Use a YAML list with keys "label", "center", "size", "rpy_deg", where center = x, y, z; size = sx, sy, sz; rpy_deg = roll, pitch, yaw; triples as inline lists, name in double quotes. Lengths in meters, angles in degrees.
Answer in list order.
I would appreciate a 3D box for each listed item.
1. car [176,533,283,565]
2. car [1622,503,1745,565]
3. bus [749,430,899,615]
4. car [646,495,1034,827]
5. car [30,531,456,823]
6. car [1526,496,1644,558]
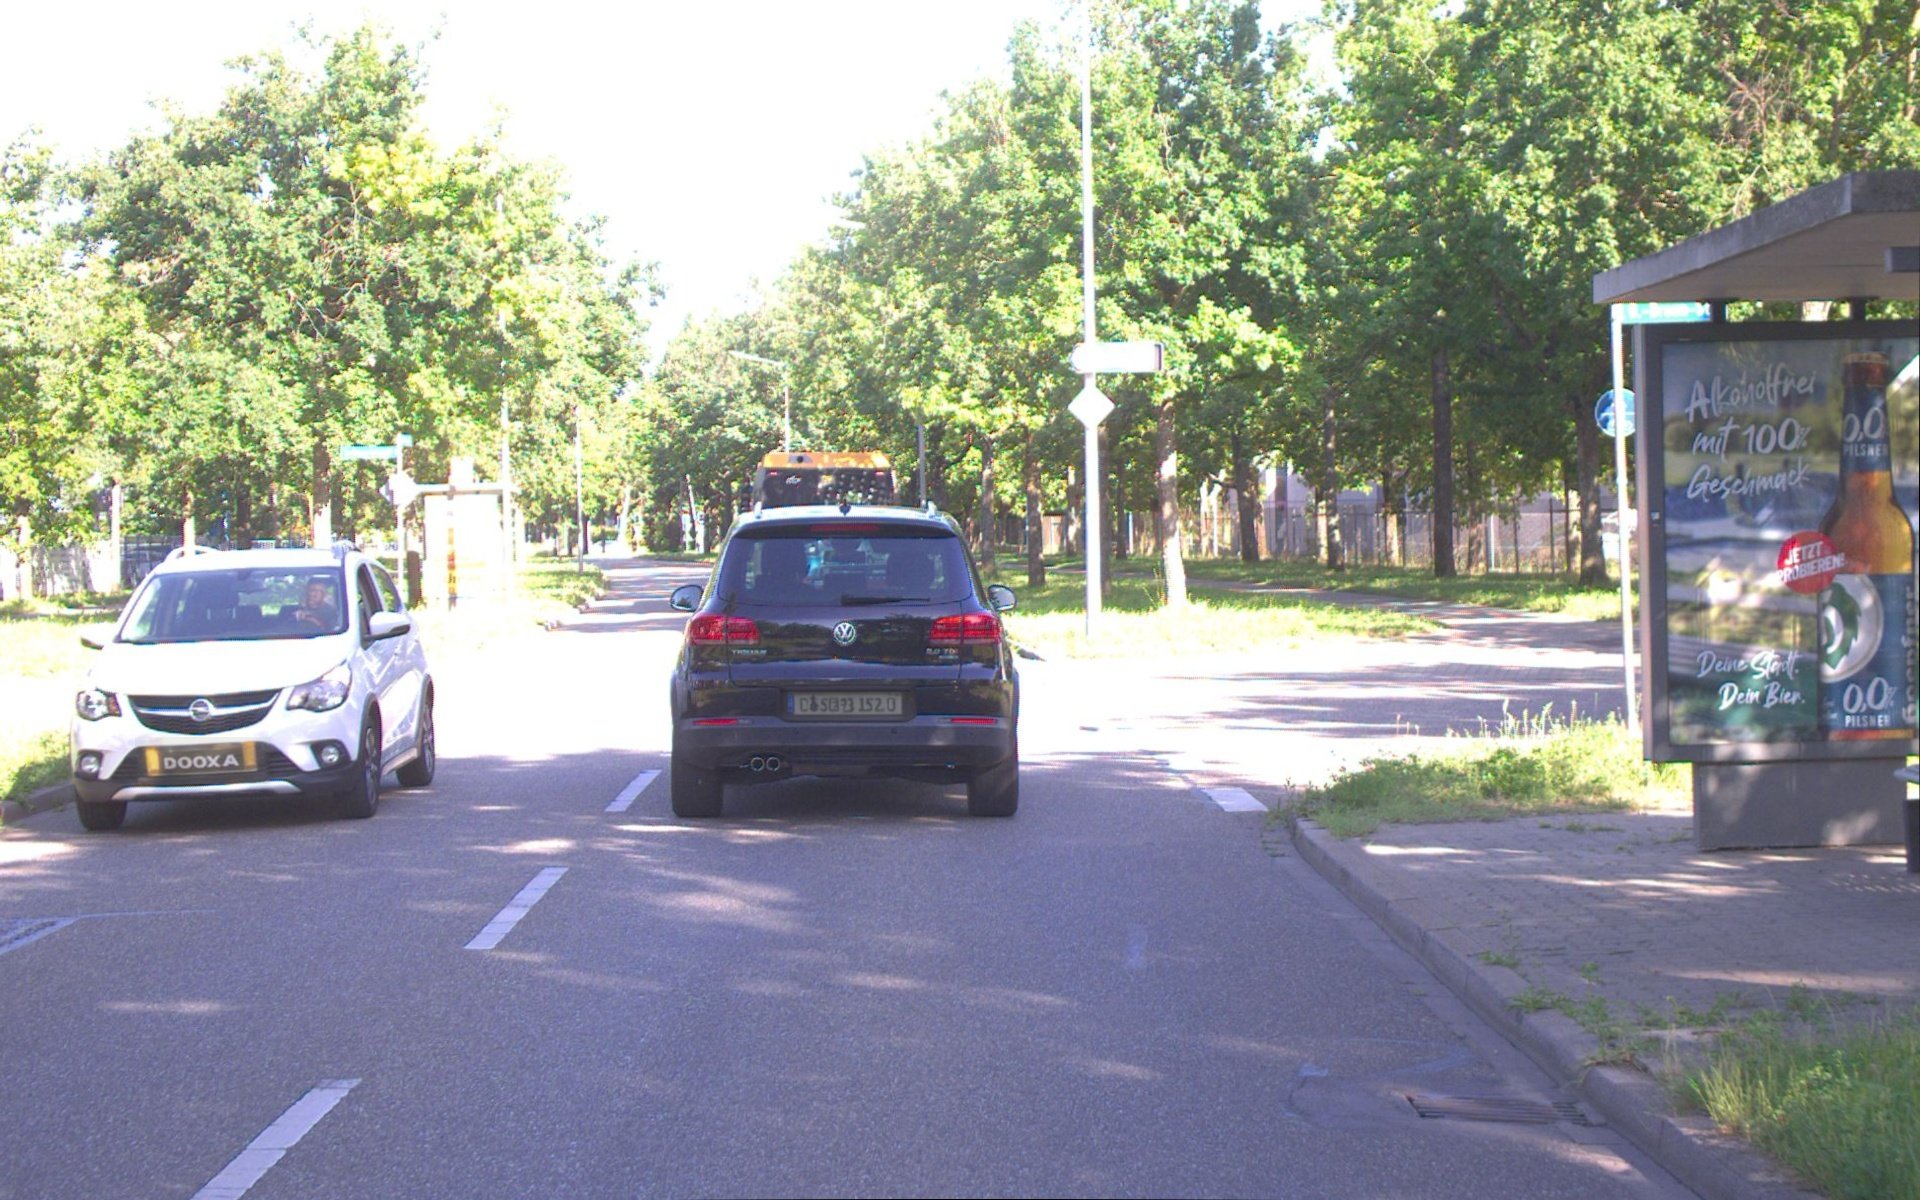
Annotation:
- label: "car"
  center: [-31.811, -2.222, 149.823]
  size: [4.198, 1.317, 1.941]
  rpy_deg: [-1, 1, 1]
- label: "car"
  center: [21.055, -1.933, 100.232]
  size: [2.184, 1.738, 4.643]
  rpy_deg: [-1, 1, -6]
- label: "bus"
  center: [-2.899, -1.593, 70.430]
  size: [2.764, 3.444, 11.213]
  rpy_deg: [-1, 1, -3]
- label: "car"
  center: [-0.623, 0.248, 19.479]
  size: [1.936, 1.650, 4.427]
  rpy_deg: [0, 2, 0]
- label: "car"
  center: [-4.095, 0.358, 20.307]
  size: [1.744, 1.460, 4.428]
  rpy_deg: [-2, 2, -3]
- label: "car"
  center: [18.131, -2.125, 99.966]
  size: [2.184, 1.738, 4.643]
  rpy_deg: [-1, 1, -5]
